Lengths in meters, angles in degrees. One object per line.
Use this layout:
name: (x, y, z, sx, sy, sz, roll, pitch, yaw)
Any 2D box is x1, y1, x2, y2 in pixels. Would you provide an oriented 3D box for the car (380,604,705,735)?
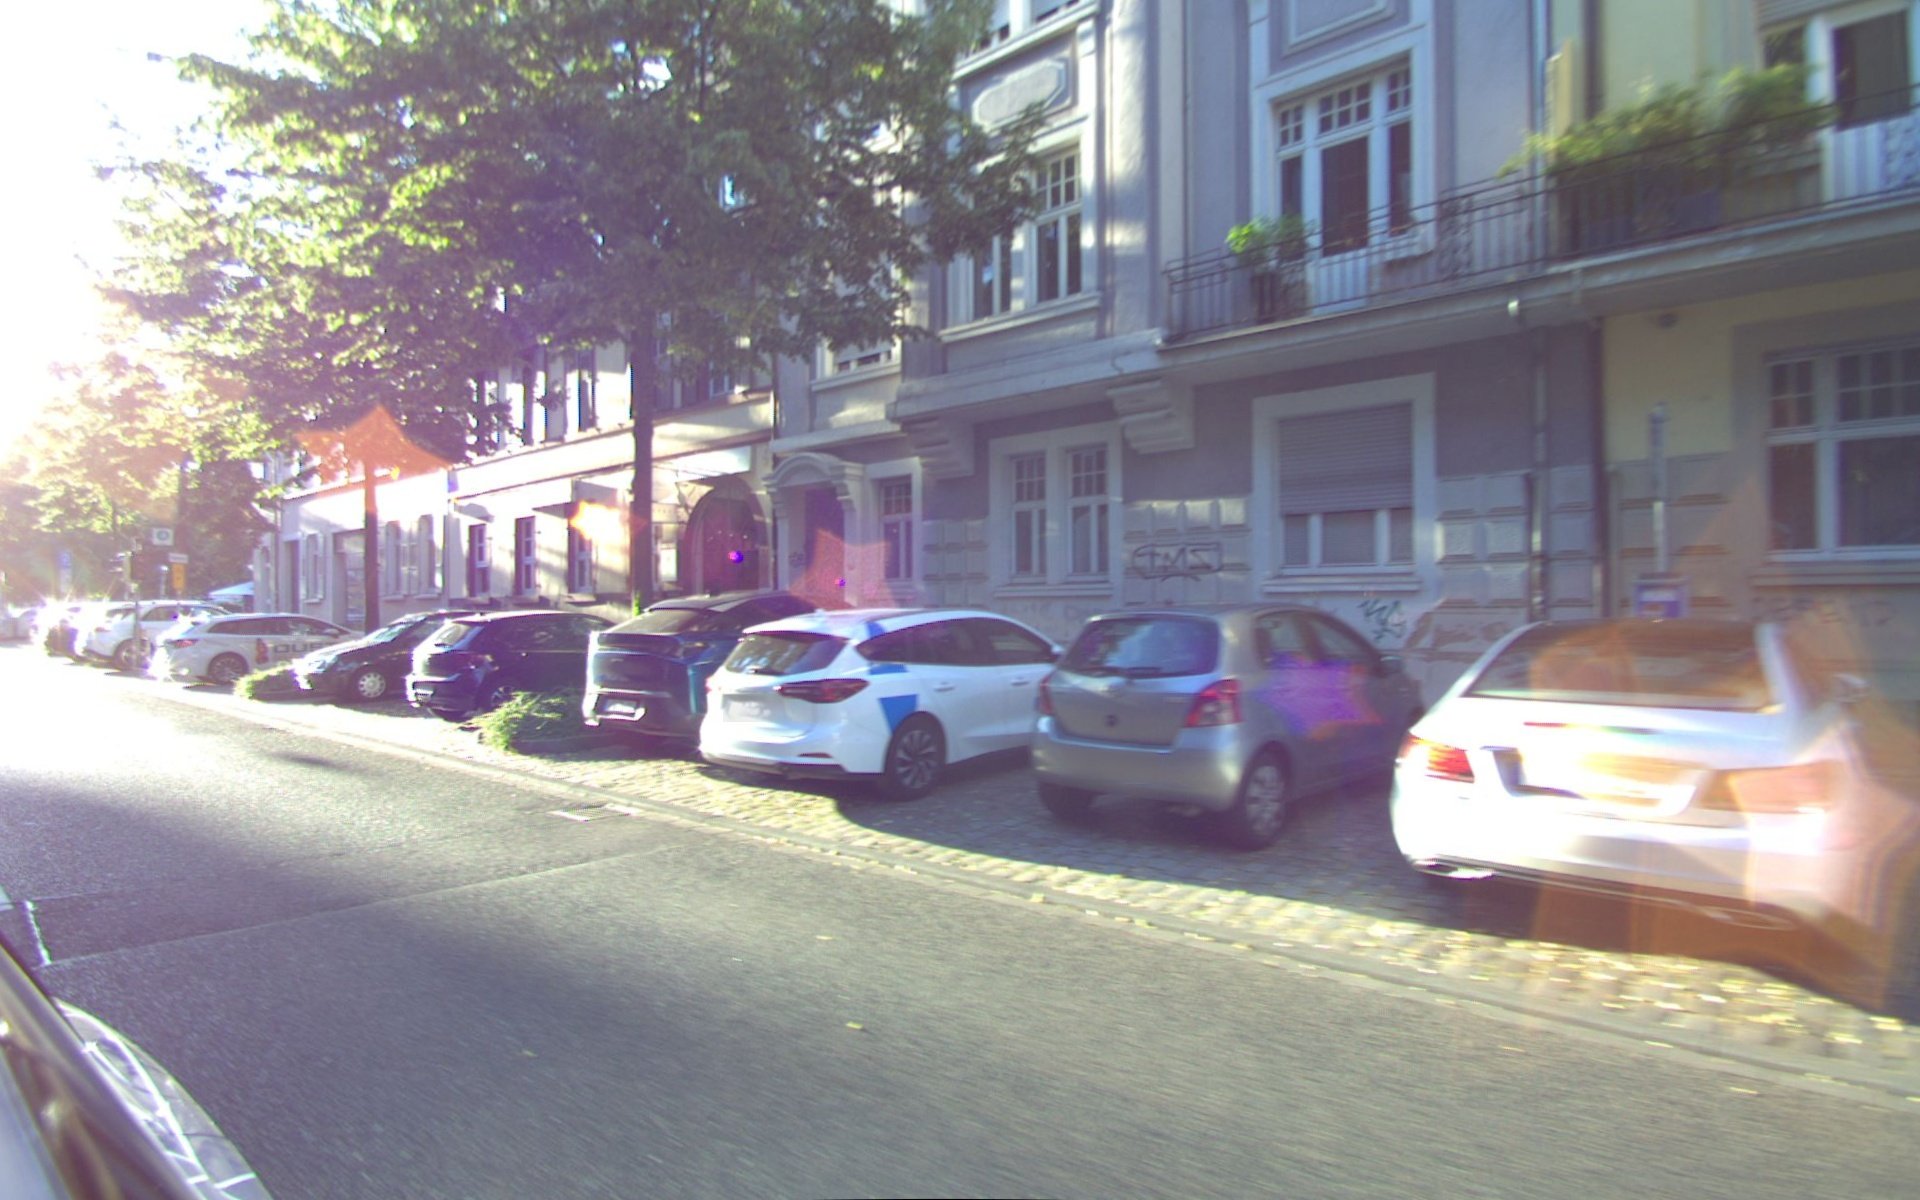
car: (-5.728, 0.866, 14.262, 1.695, 1.459, 3.877, -1, 1, 38)

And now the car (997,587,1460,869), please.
car: (2.094, 0.702, 7.417, 1.847, 1.521, 3.369, -1, 0, 44)

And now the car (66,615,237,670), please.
car: (-24.177, 1.225, 30.341, 1.820, 1.472, 3.775, -1, -1, 42)

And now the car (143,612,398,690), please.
car: (-15.127, 1.046, 22.395, 1.821, 1.433, 4.337, -1, 0, 41)

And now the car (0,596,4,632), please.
car: (-64.541, 0.886, 64.623, 2.136, 2.376, 4.755, -1, -1, 13)

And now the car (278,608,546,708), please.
car: (-9.491, 0.924, 17.715, 1.789, 1.459, 3.743, -1, 0, 43)

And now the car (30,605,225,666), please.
car: (-26.250, 1.054, 32.025, 1.945, 1.796, 4.509, 0, -1, 40)

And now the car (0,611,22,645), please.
car: (-56.829, 1.635, 57.933, 1.876, 1.948, 4.566, -1, -1, 3)

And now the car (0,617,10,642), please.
car: (-62.109, 1.873, 62.554, 2.114, 1.594, 4.553, -1, -1, 12)

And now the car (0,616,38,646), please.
car: (-51.747, 1.632, 53.483, 1.790, 1.569, 4.566, -1, -1, 3)

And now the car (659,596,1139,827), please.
car: (-0.321, 0.765, 9.063, 1.969, 1.494, 4.143, -1, 0, 40)

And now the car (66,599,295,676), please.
car: (-21.107, 0.952, 27.549, 2.052, 1.825, 4.657, -1, 0, 42)

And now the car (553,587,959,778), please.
car: (-2.036, 0.721, 11.193, 1.890, 1.663, 4.191, -1, 0, 37)

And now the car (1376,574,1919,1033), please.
car: (3.895, 0.652, 5.482, 1.792, 1.517, 4.169, -1, 0, 41)
